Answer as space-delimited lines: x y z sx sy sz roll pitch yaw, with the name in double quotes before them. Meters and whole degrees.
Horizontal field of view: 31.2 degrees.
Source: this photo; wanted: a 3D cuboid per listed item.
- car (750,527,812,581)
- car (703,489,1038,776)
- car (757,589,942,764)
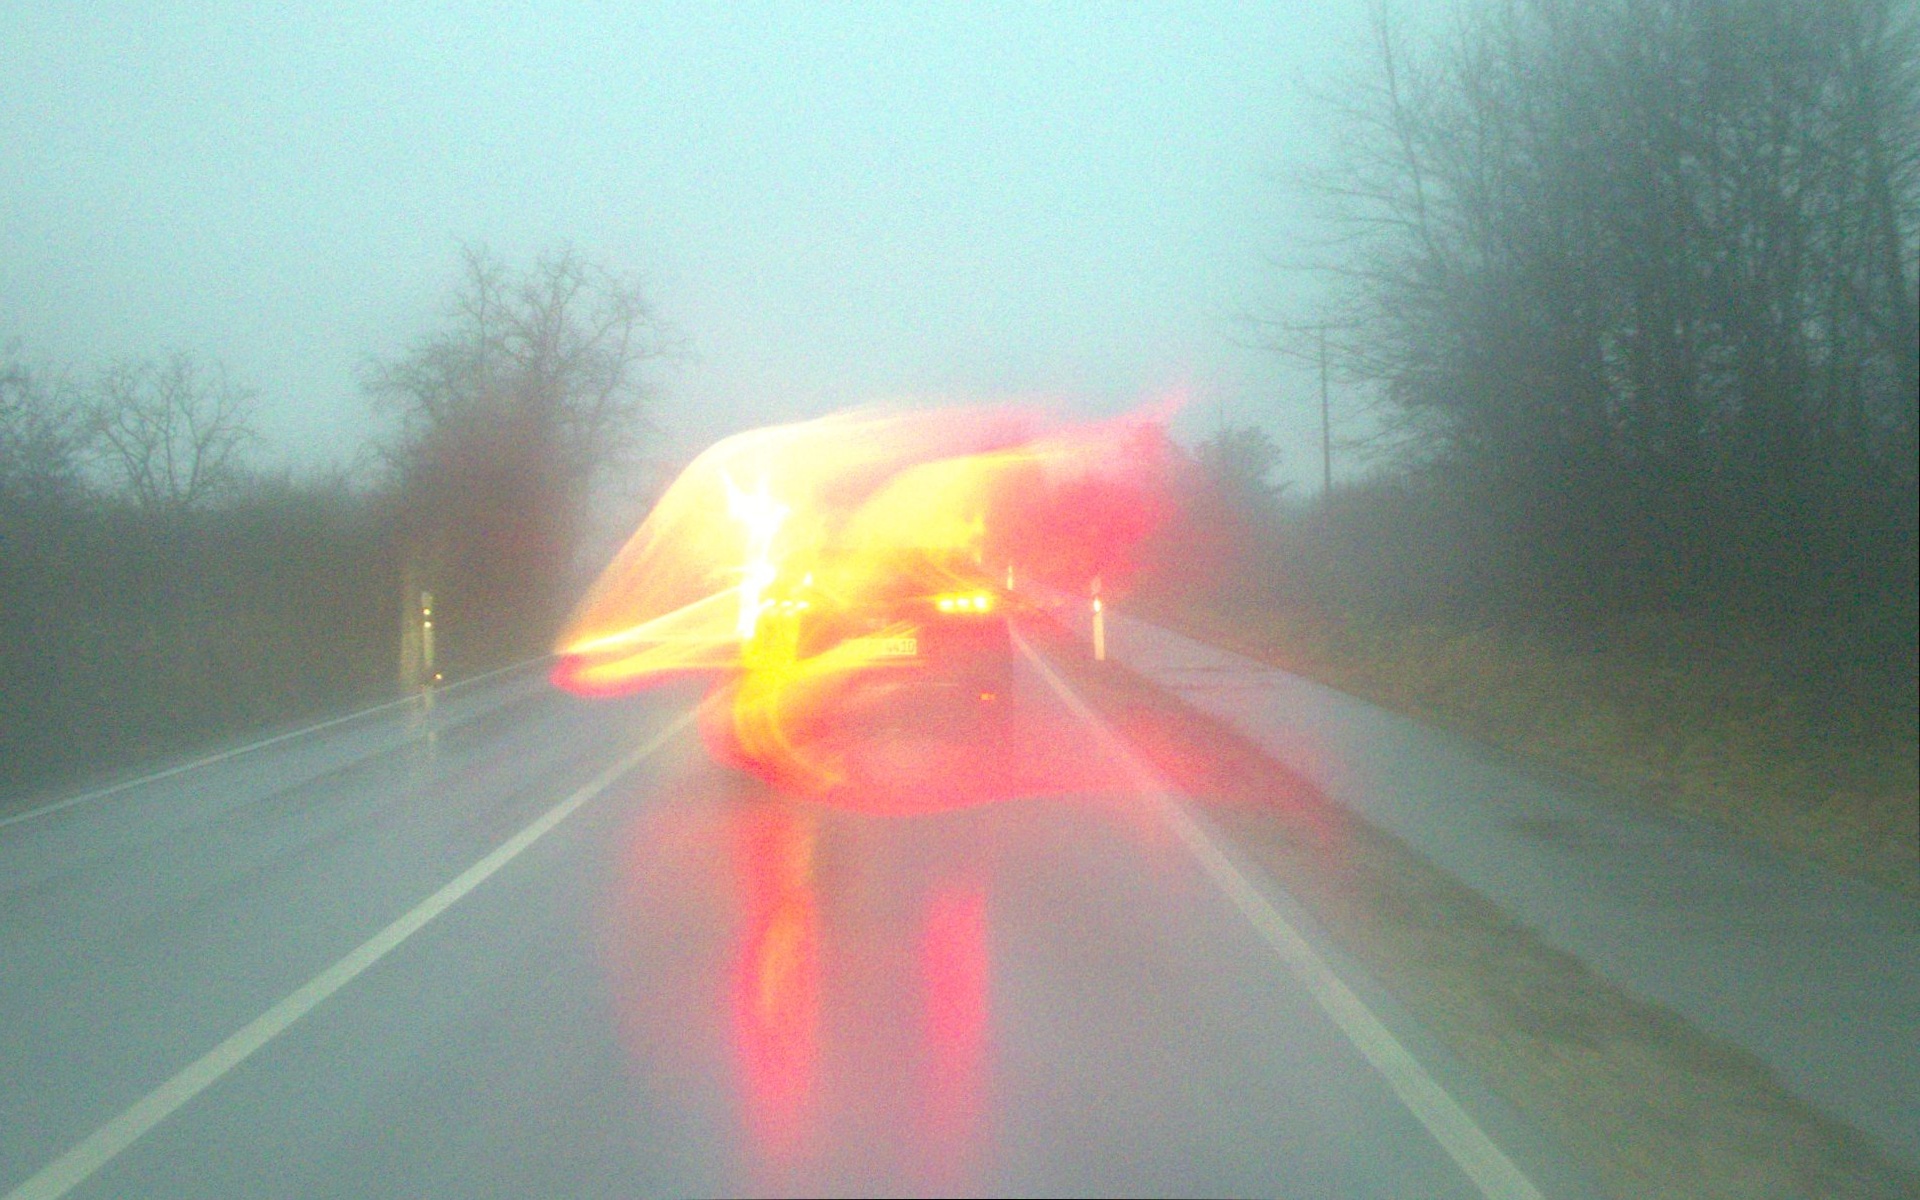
"car" -5.207 -1.351 100.253 1.632 1.452 3.983 -3 1 -1
"car" -0.587 0.157 24.259 2.120 1.813 4.980 0 1 0
"car" -1.214 0.829 39.353 1.993 1.843 4.000 1 1 0
